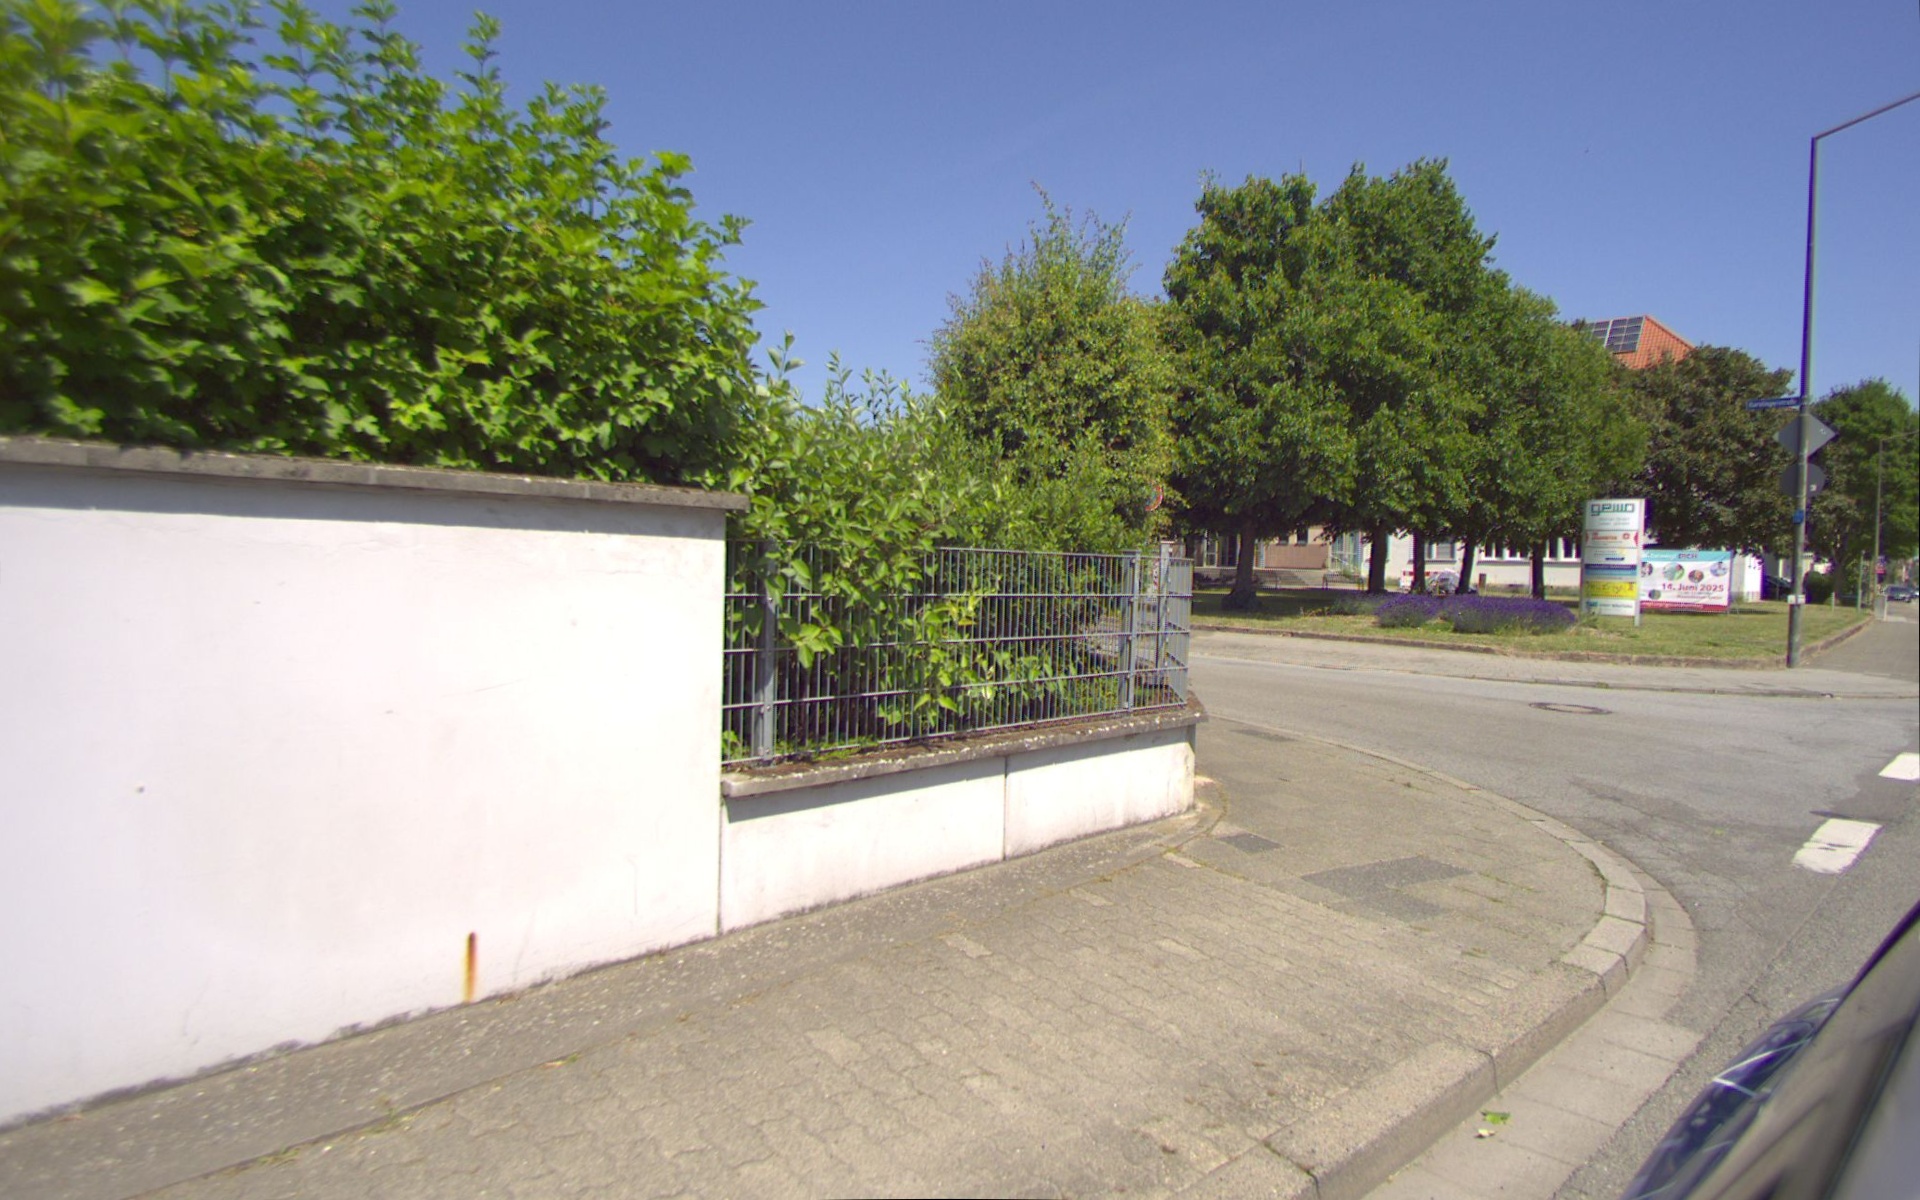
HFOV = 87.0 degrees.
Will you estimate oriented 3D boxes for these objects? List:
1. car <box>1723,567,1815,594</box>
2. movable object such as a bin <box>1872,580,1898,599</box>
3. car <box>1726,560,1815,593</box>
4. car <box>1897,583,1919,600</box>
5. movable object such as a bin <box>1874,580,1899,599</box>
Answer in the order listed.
[{"bbox_3d":[50.344,-1.240,63.023,4.353,1.452,1.971,5,4,41],"label":"car"},{"bbox_3d":[76.445,-0.851,83.616,1.495,1.499,1.401,3,3,42],"label":"movable object such as a bin"},{"bbox_3d":[52.153,-1.538,65.170,4.353,1.808,1.971,5,4,41],"label":"car"},{"bbox_3d":[84.200,-0.781,89.743,1.603,1.429,3.849,1,1,43],"label":"car"},{"bbox_3d":[77.574,-0.872,84.732,1.495,1.499,1.401,3,3,42],"label":"movable object such as a bin"}]
